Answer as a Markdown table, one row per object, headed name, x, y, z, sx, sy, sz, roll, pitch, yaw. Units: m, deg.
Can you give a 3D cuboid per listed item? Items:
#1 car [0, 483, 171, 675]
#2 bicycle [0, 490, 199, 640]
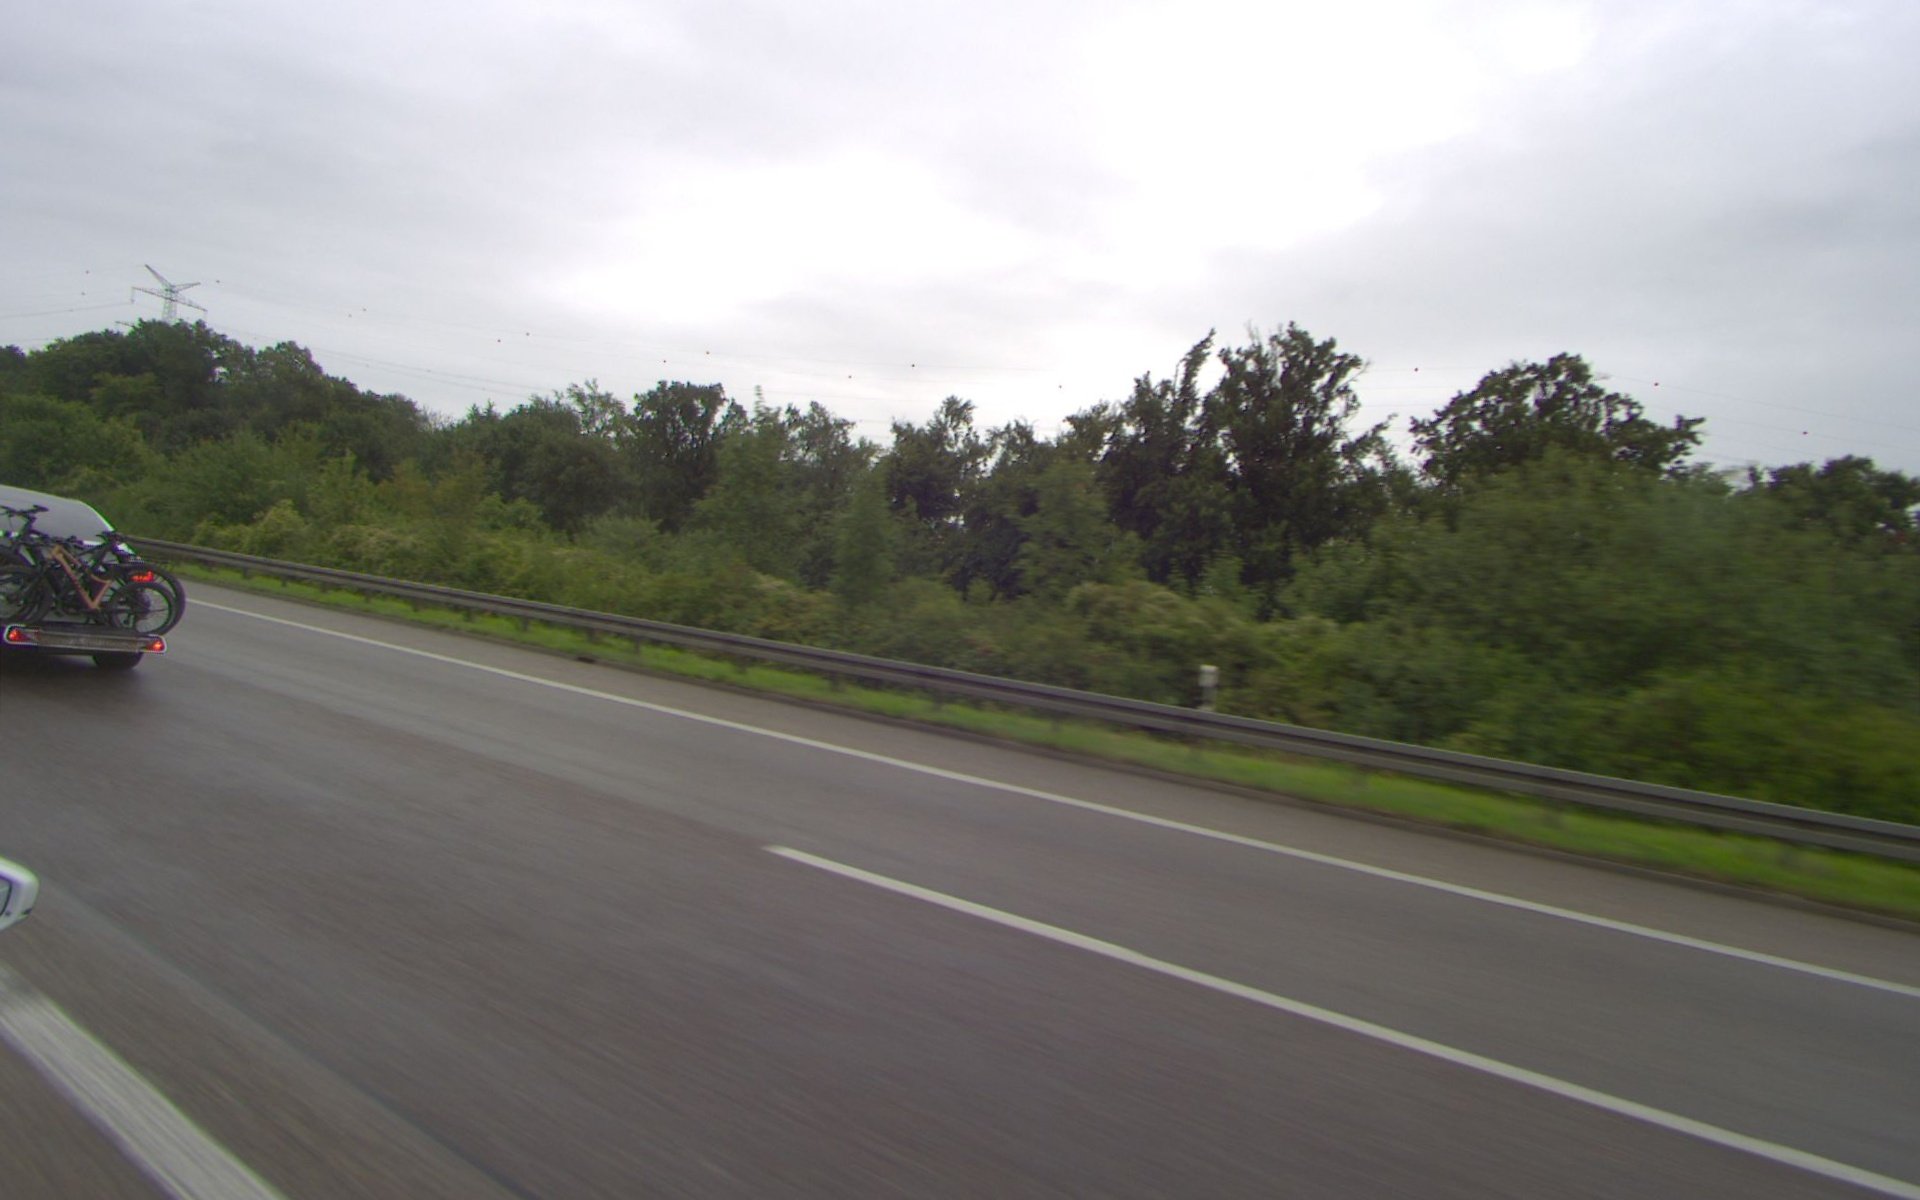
| name | x | y | z | sx | sy | sz | roll | pitch | yaw |
| --- | --- | --- | --- | --- | --- | --- | --- | --- | --- |
| car | -10.057 | -0.416 | 9.961 | 4.881 | 1.586 | 1.863 | 7 | -1 | 32 |
| bicycle | -7.635 | -0.302 | 8.411 | 0.899 | 1.103 | 1.756 | 6 | -1 | 32 |
